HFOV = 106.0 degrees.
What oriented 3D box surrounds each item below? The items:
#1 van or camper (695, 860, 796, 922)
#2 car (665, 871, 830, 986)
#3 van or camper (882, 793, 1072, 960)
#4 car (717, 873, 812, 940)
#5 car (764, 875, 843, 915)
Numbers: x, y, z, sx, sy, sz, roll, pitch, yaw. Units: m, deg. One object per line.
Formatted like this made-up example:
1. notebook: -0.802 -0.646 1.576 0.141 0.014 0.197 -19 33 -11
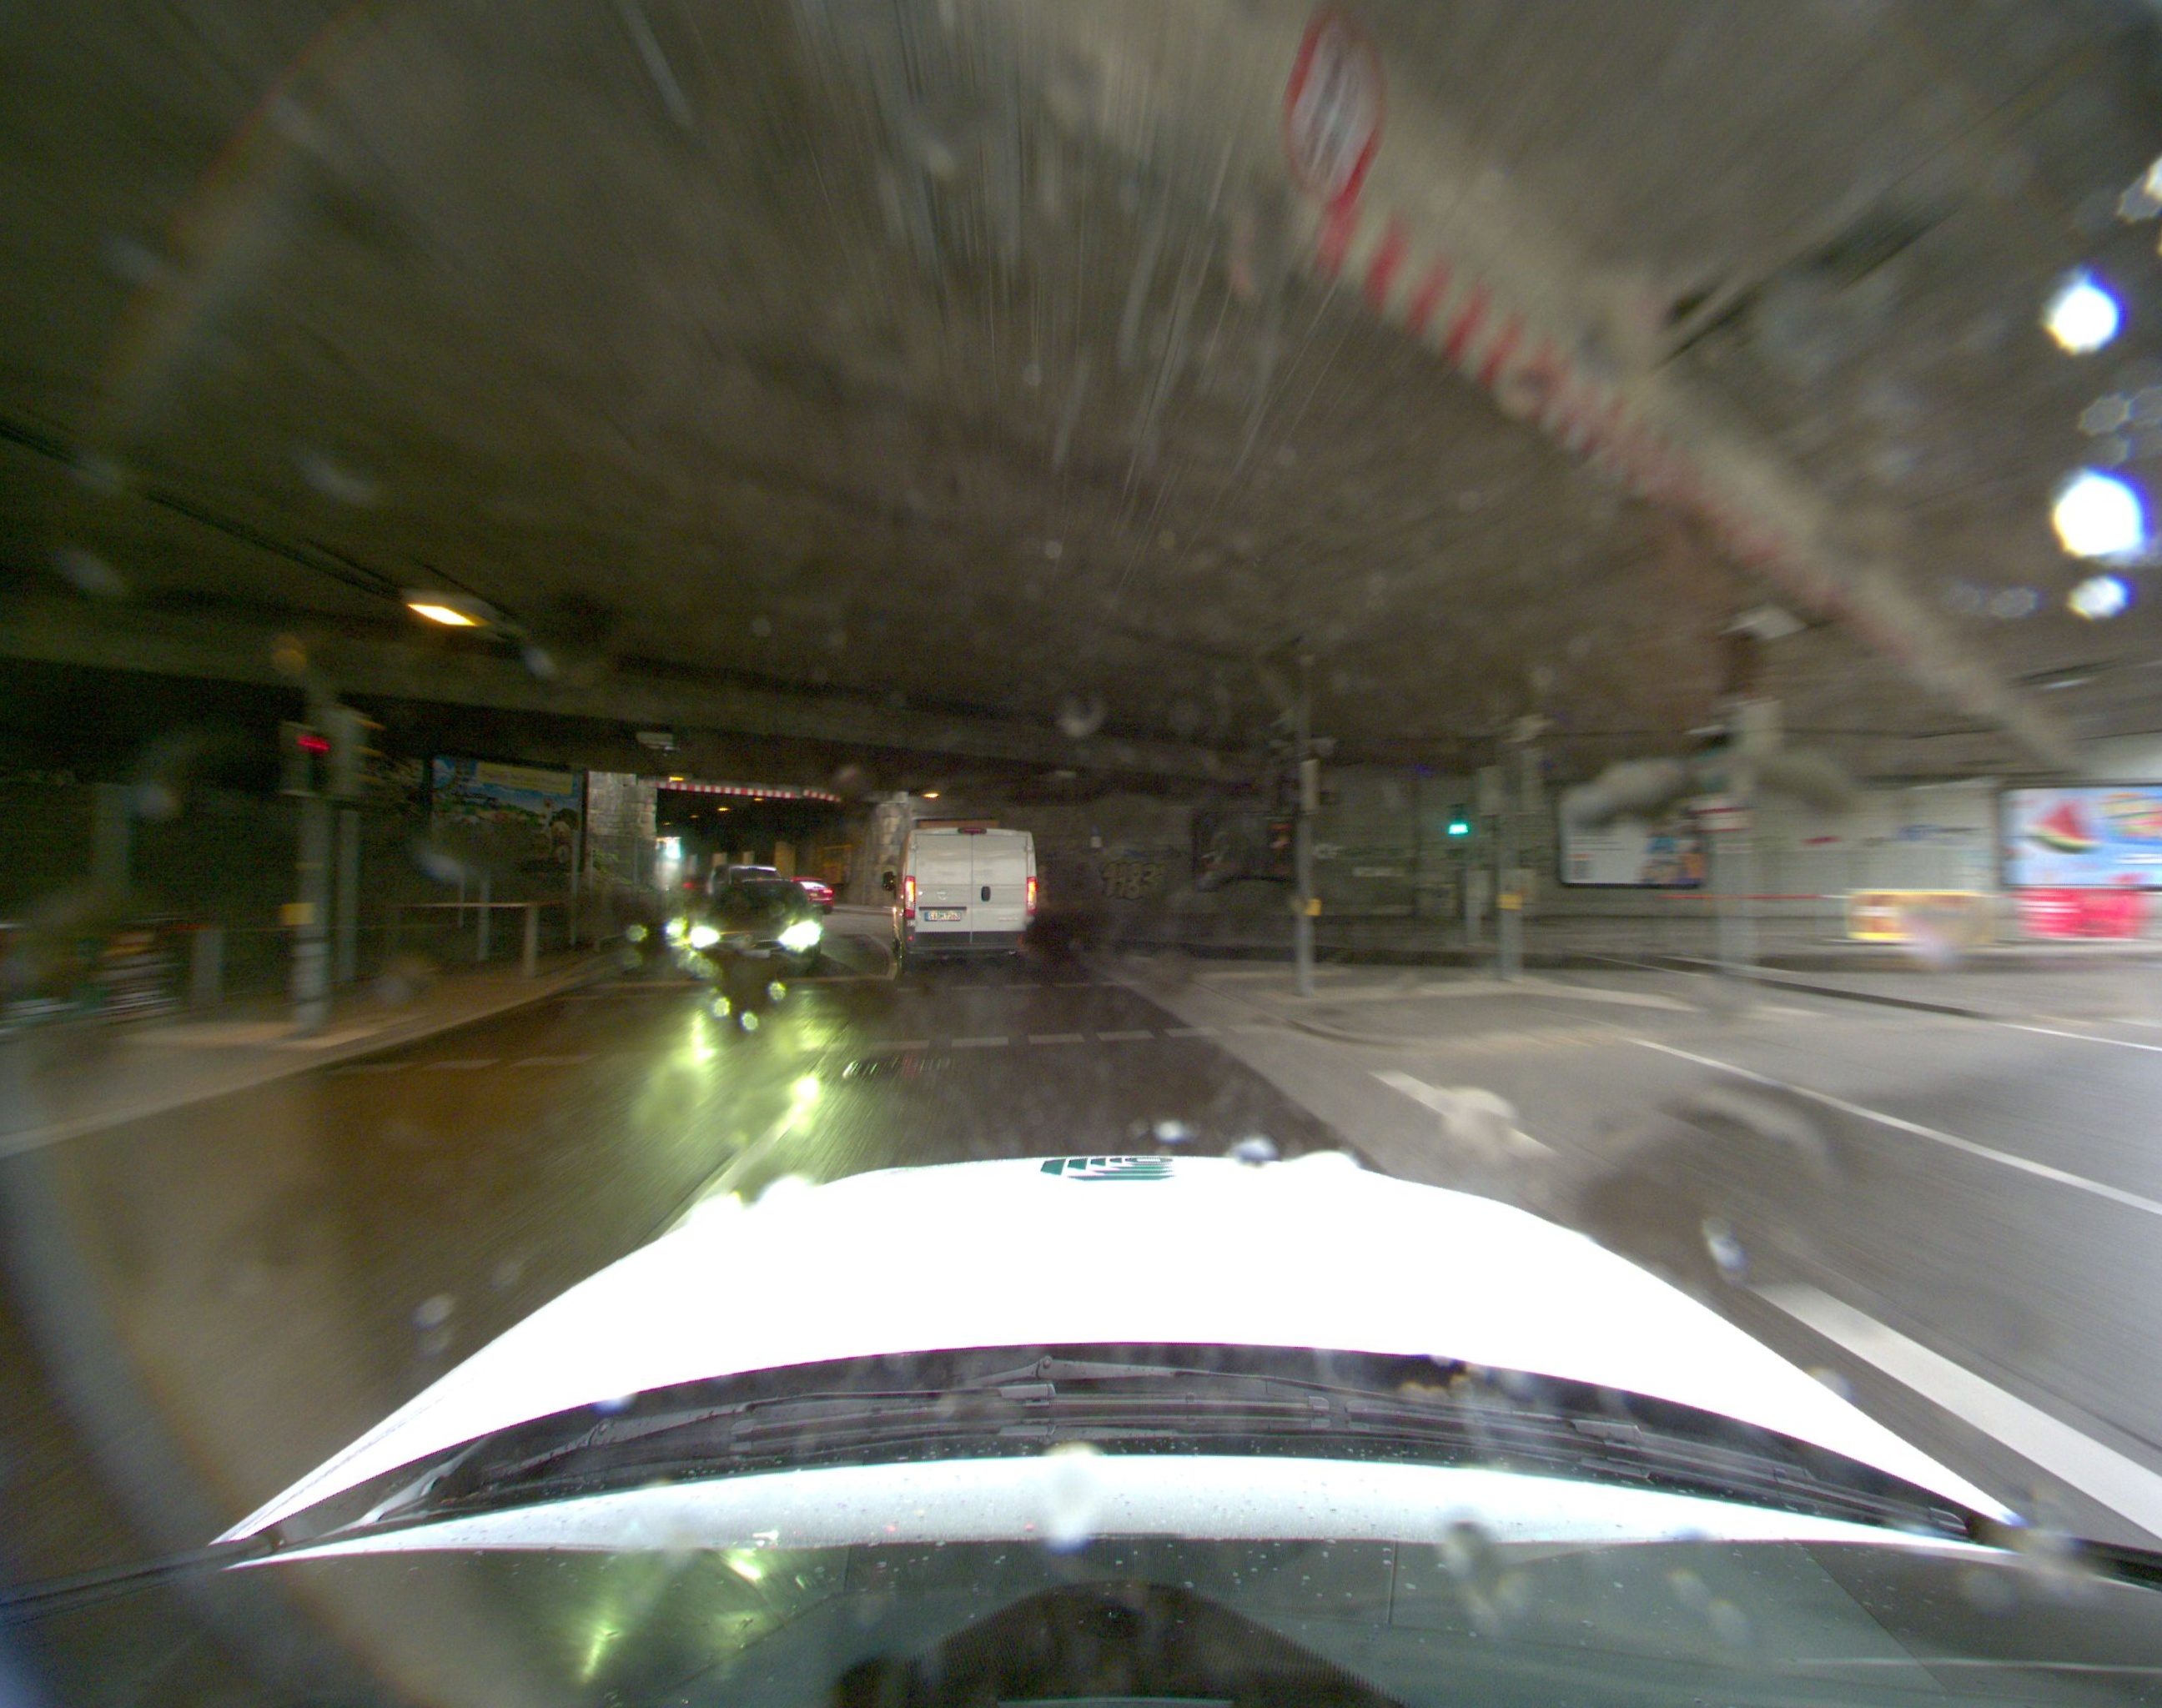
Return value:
1. van or camper: -11.387 1.210 27.402 2.009 1.868 5.082 0 -2 -36
2. car: -5.281 1.105 13.512 1.997 1.530 4.475 0 -2 -16
3. van or camper: -2.088 0.436 14.507 2.703 2.417 4.876 0 -3 -15
4. car: -7.929 1.233 20.337 2.002 1.465 4.073 0 -2 -23
5. car: -10.965 1.543 32.029 1.850 1.438 4.058 0 -1 -35
